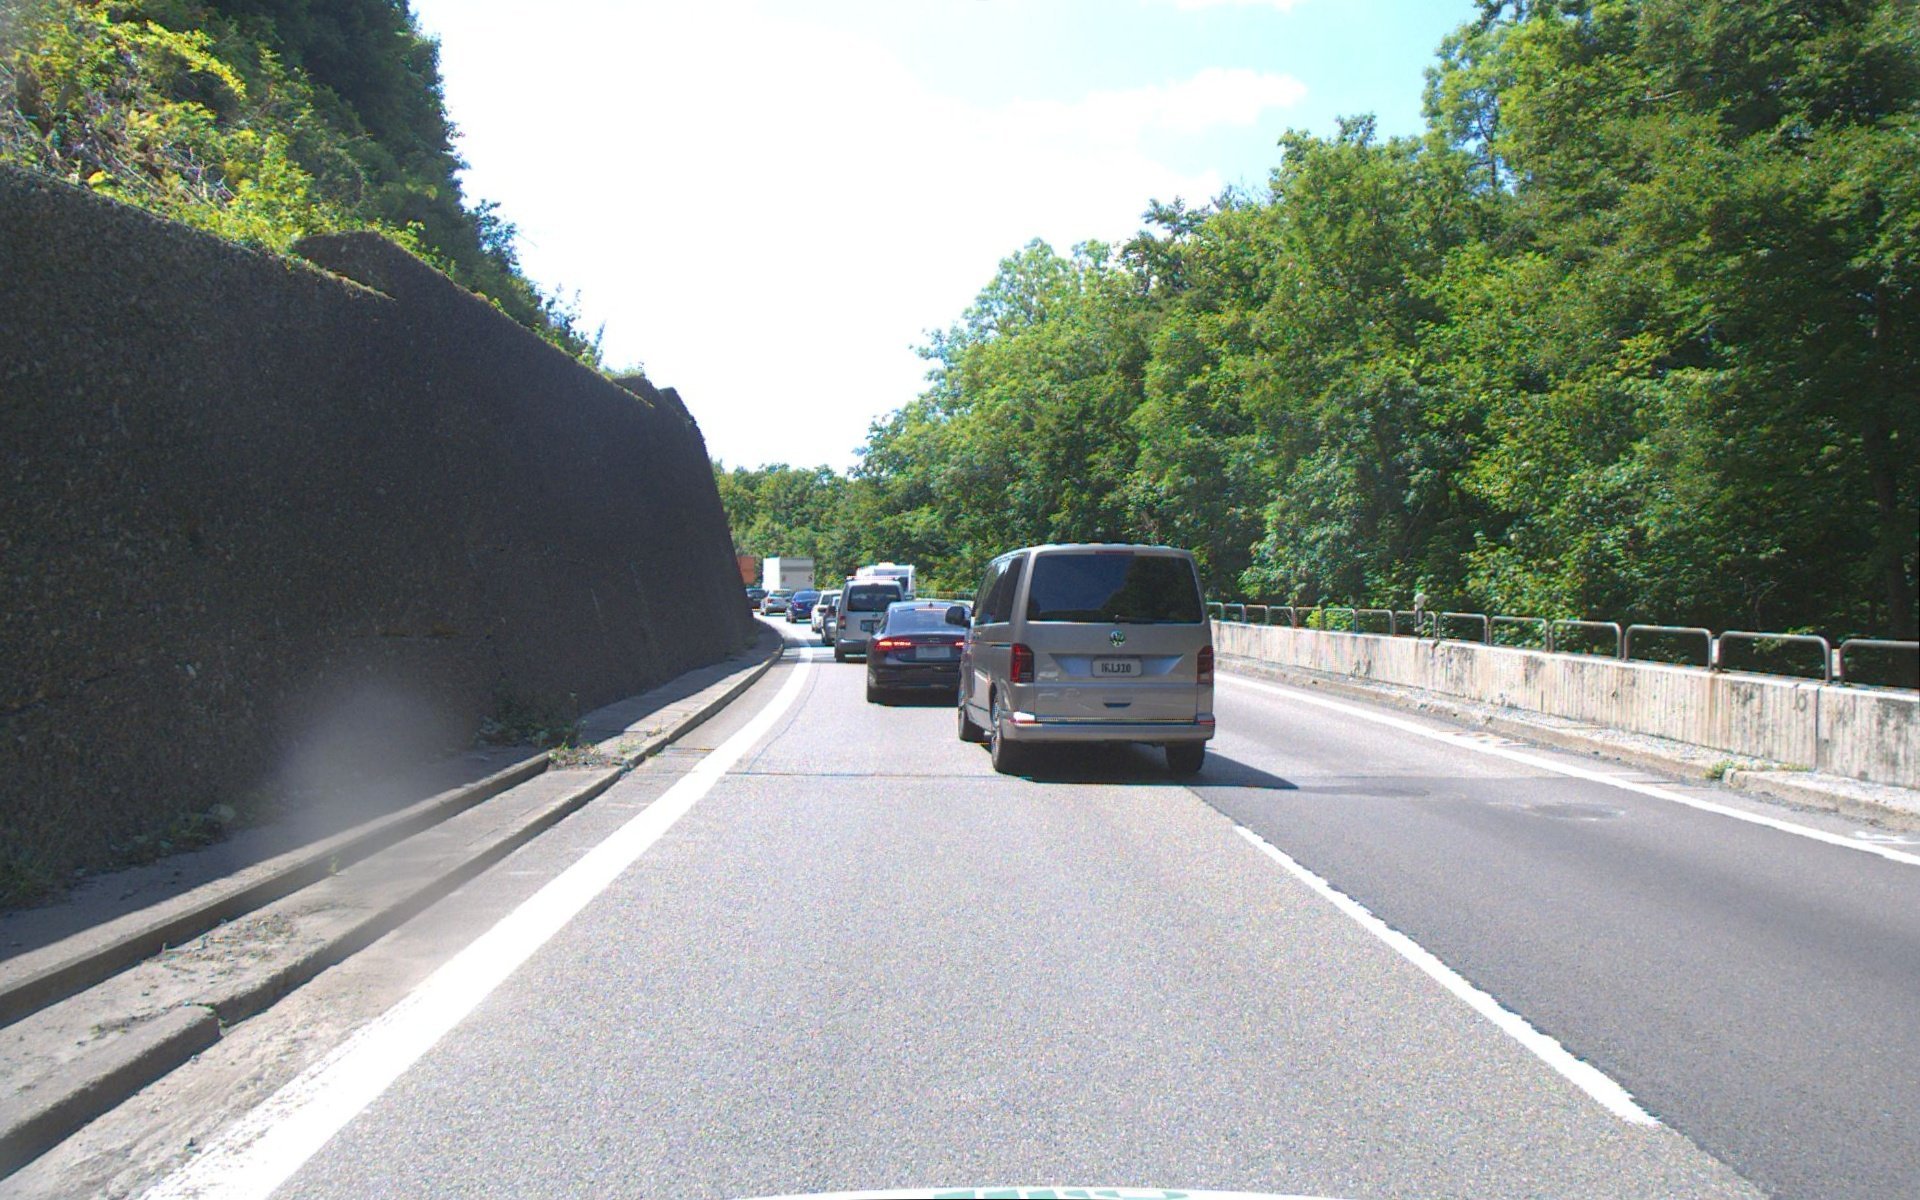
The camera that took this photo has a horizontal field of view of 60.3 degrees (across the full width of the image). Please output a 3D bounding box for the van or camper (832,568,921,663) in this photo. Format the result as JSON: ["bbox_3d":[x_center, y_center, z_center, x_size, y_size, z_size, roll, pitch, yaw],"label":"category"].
[{"bbox_3d":[-1.958,0.329,38.331,1.817,1.975,4.162,4,0,-4],"label":"van or camper"}]

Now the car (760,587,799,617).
[{"bbox_3d":[-10.077,0.093,92.100,1.957,1.646,3.991,1,0,-10],"label":"car"}]

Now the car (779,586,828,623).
[{"bbox_3d":[-7.347,0.188,77.354,1.825,1.648,3.989,1,0,-12],"label":"car"}]

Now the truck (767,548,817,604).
[{"bbox_3d":[-12.274,-1.731,120.214,2.872,3.751,7.706,4,0,-10],"label":"truck"}]

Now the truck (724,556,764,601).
[{"bbox_3d":[-18.623,-1.875,142.290,3.104,3.528,8.207,4,0,-8],"label":"truck"}]

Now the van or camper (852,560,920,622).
[{"bbox_3d":[-3.747,-0.481,82.667,2.556,2.905,6.321,-1,1,-10],"label":"van or camper"}]

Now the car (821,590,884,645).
[{"bbox_3d":[-3.248,0.484,49.319,1.737,1.498,3.996,3,0,-5],"label":"car"}]

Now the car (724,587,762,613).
[{"bbox_3d":[-13.585,-0.010,103.599,1.724,1.598,3.752,1,0,-18],"label":"car"}]

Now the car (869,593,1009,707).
[{"bbox_3d":[-0.372,0.676,24.645,1.866,1.515,4.377,1,0,-2],"label":"car"}]

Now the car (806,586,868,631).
[{"bbox_3d":[-4.644,0.304,62.079,1.862,1.612,3.760,0,0,-12],"label":"car"}]

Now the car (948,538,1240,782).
[{"bbox_3d":[1.092,0.480,15.875,1.903,1.965,4.688,1,0,-6],"label":"car"}]
